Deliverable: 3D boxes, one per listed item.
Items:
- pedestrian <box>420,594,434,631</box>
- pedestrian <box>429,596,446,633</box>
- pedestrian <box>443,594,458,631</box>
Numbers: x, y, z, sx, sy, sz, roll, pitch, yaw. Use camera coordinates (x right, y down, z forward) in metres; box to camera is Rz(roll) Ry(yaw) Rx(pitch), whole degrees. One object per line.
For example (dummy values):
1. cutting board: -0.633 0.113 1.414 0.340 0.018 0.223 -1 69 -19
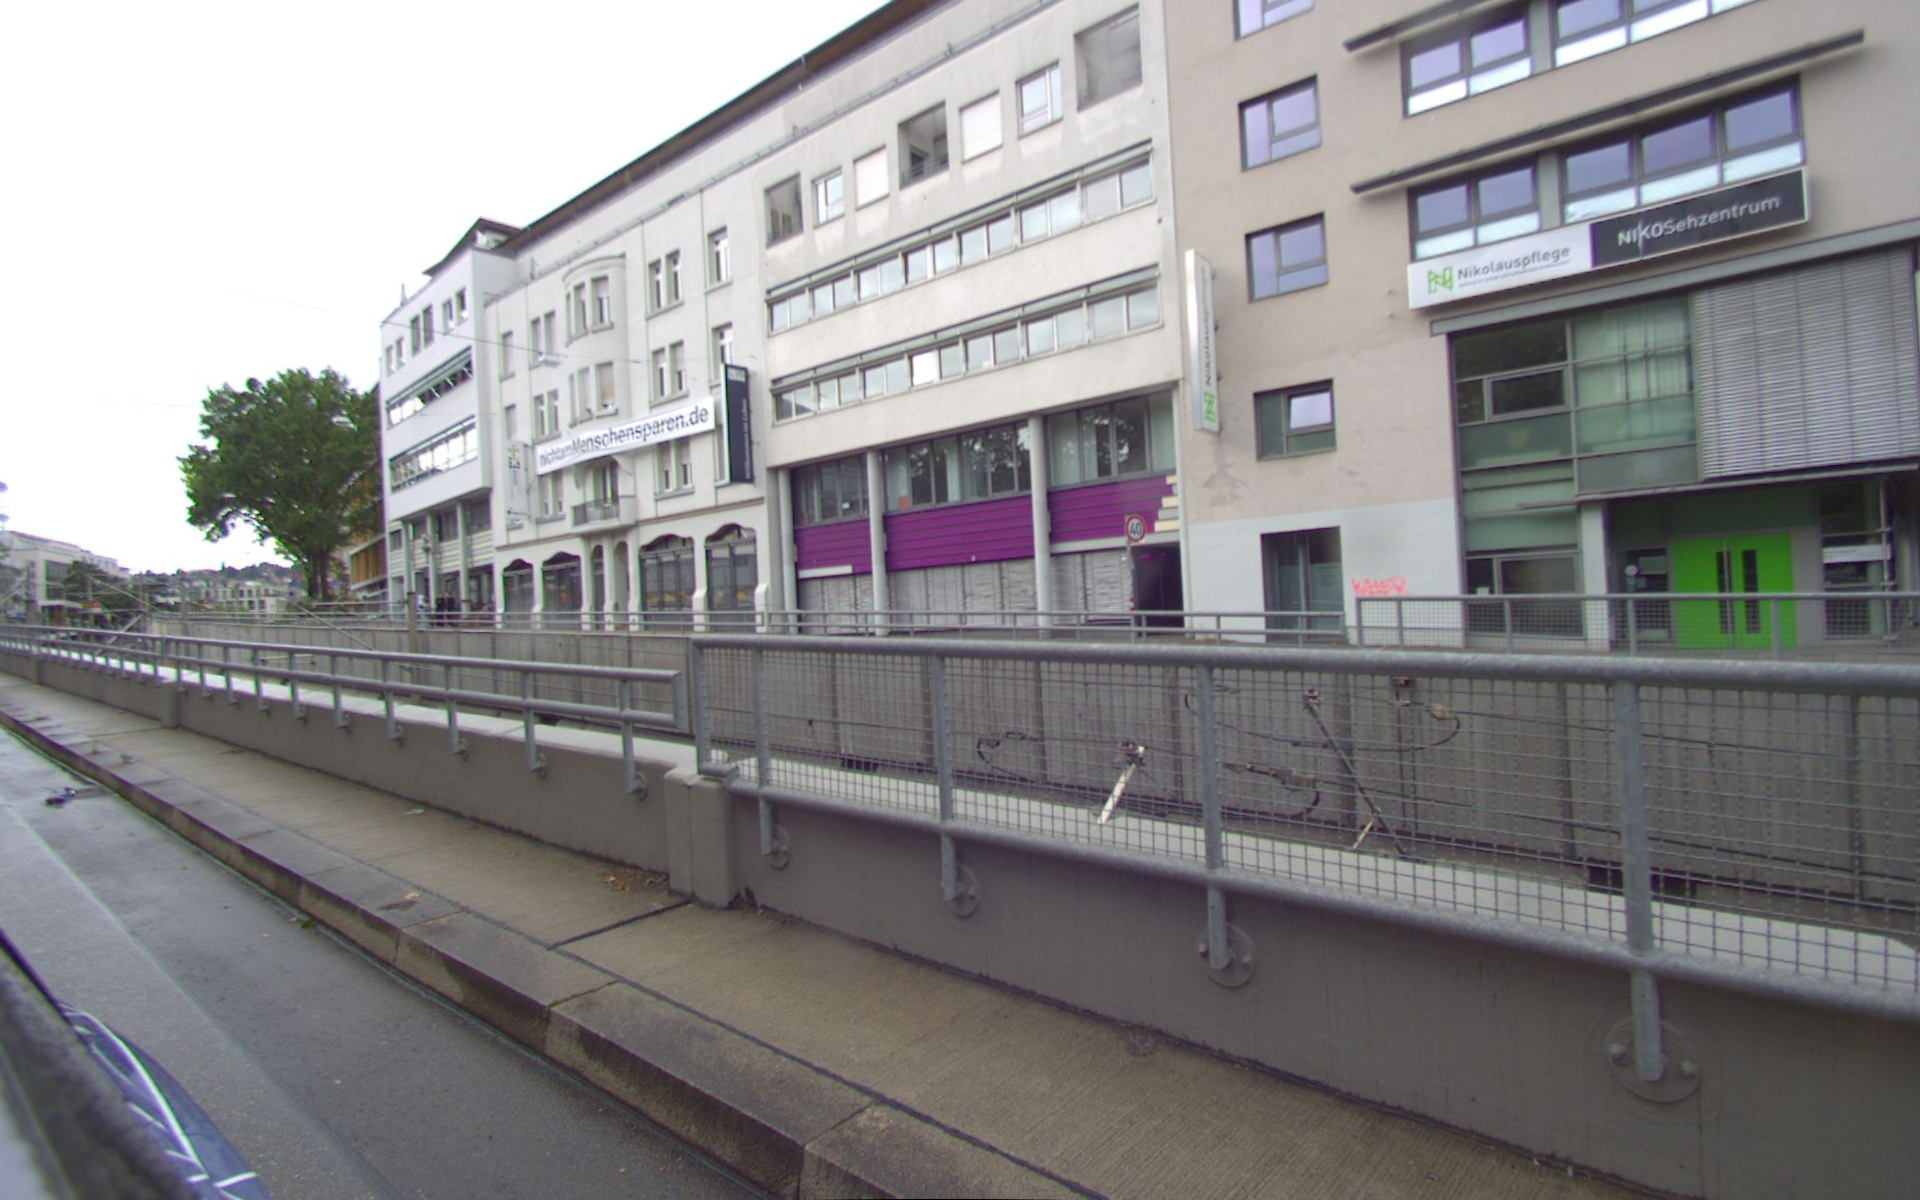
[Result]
1. pedestrian: -26.683 0.609 50.681 0.463 1.816 0.548 -3 1 -42
2. pedestrian: -26.431 0.722 51.224 0.469 1.816 0.541 -2 1 33
3. pedestrian: -25.417 0.622 50.476 0.547 1.816 0.463 -2 1 44
